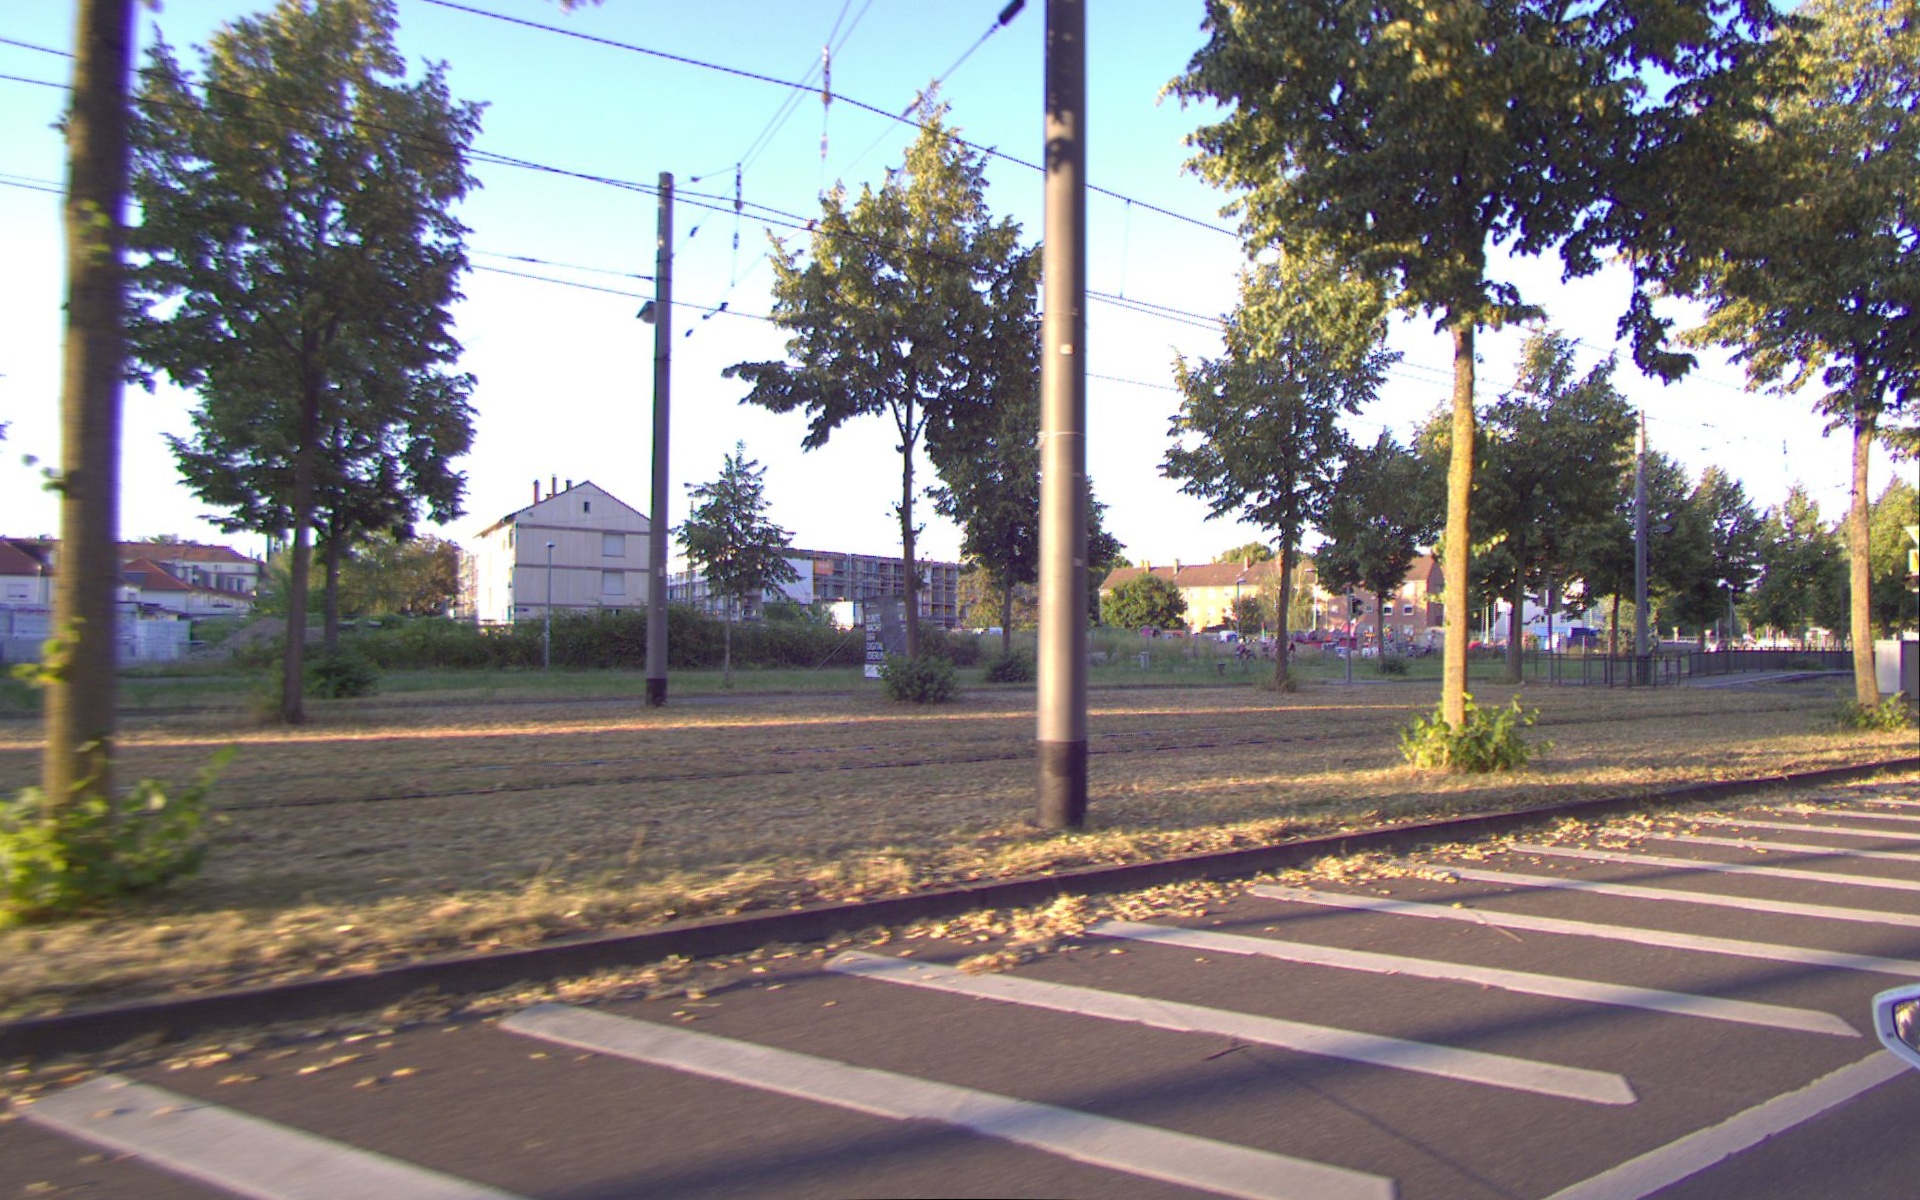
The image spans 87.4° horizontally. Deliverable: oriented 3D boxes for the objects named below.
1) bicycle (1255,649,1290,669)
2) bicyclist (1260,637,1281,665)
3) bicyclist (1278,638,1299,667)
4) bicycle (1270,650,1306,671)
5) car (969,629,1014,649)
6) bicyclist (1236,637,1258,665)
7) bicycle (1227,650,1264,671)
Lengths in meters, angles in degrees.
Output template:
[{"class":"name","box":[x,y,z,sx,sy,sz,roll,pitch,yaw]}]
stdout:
[{"class":"bicycle","box":[16.444,3.123,52.817,2.060,1.024,0.616,2,-2,-33]},{"class":"bicyclist","box":[16.281,2.667,52.718,0.927,1.475,0.616,2,-2,-33]},{"class":"bicyclist","box":[17.023,2.726,52.009,0.927,1.475,0.616,2,-2,-33]},{"class":"bicycle","box":[16.987,3.130,51.972,2.060,1.024,0.616,2,-2,-33]},{"class":"car","box":[3.502,4.264,109.635,4.762,2.040,1.979,2,-2,-38]},{"class":"bicyclist","box":[14.746,2.617,51.564,0.927,1.440,0.616,2,-2,-33]},{"class":"bicycle","box":[14.661,3.083,51.490,2.060,1.024,0.616,2,-2,-33]}]
